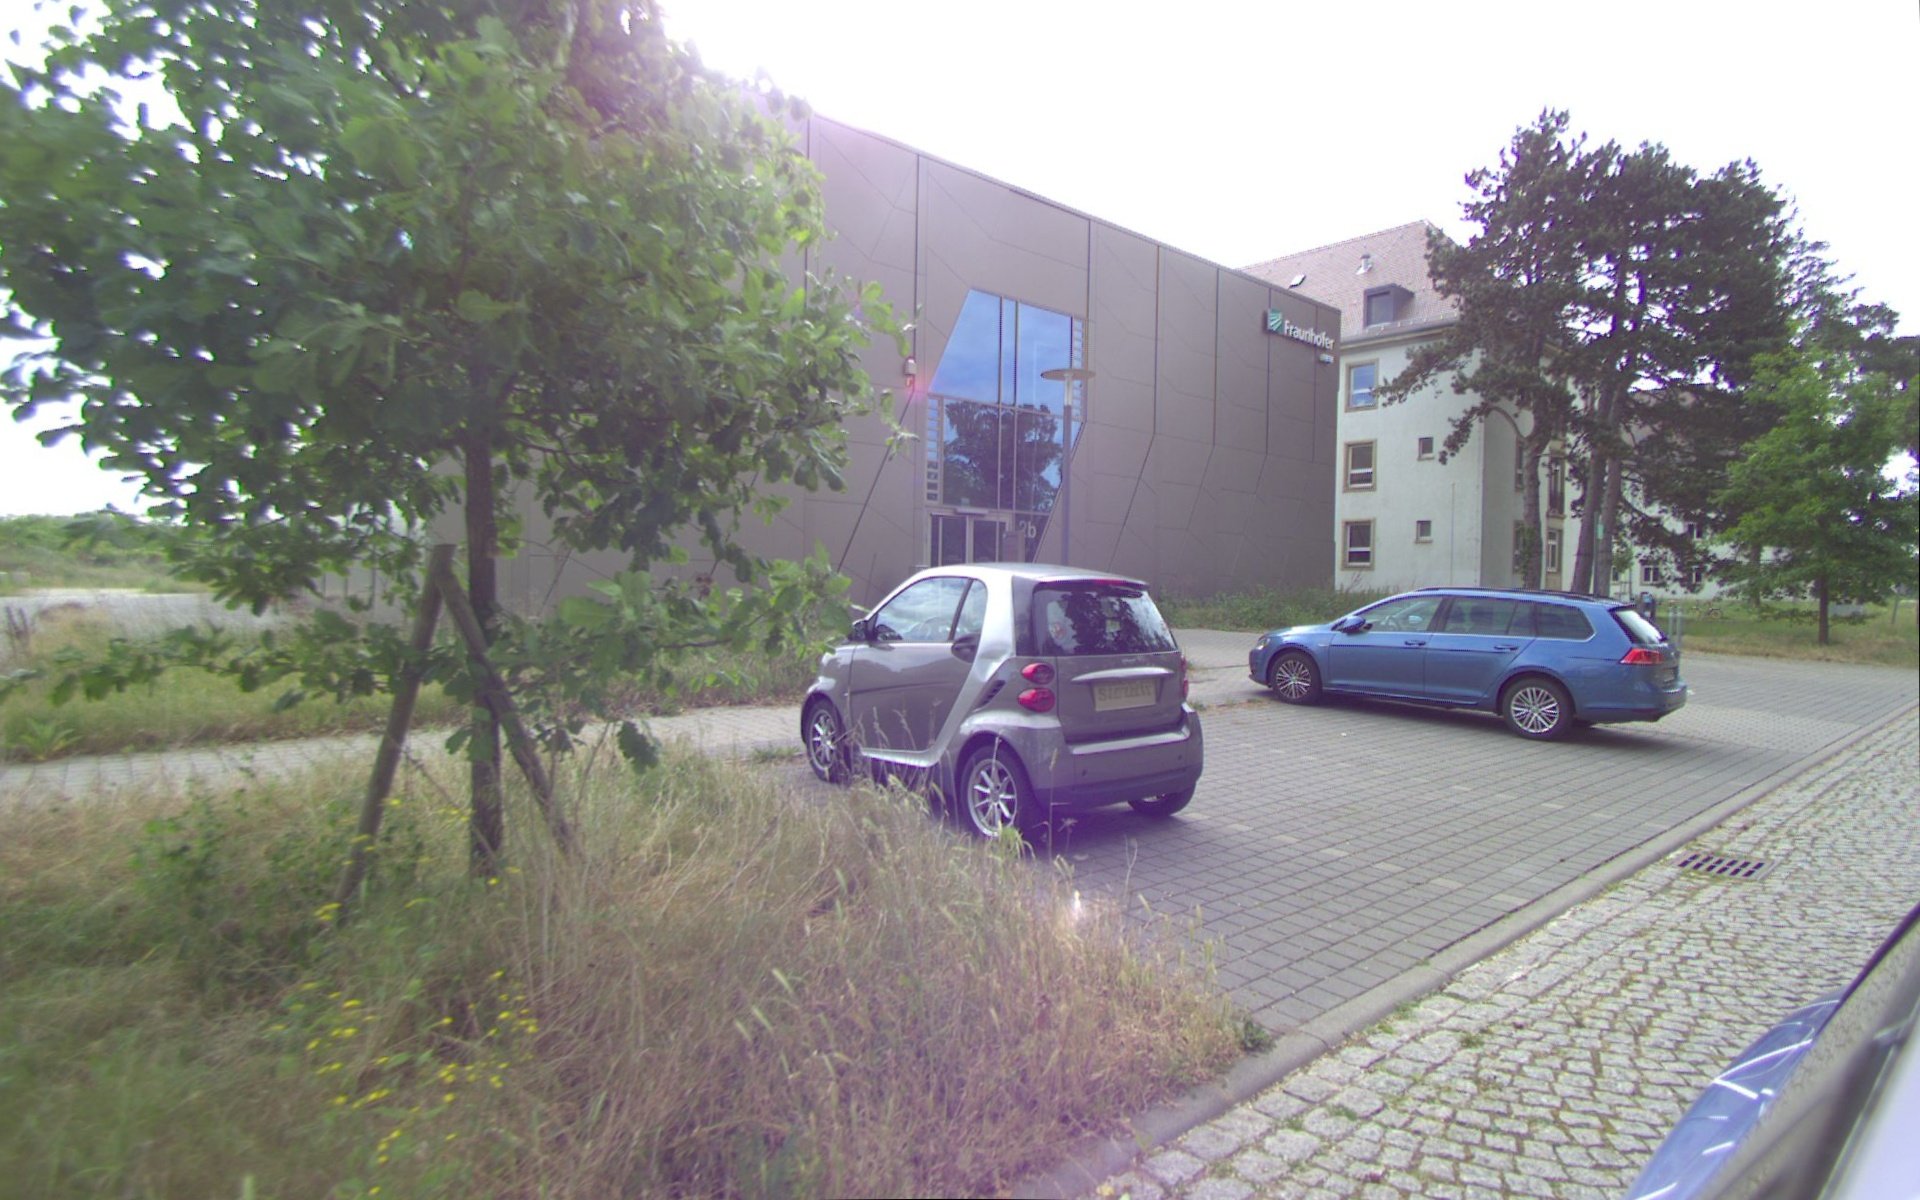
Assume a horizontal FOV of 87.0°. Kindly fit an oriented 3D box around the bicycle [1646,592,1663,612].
[{"bbox_3d":[41.300,0.111,60.158,1.628,1.142,0.476,0,1,-42],"label":"bicycle"}]

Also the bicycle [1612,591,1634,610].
[{"bbox_3d":[40.164,0.054,61.278,1.697,1.142,0.448,0,1,-33],"label":"bicycle"}]

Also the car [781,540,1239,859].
[{"bbox_3d":[0.198,0.453,6.757,1.623,1.575,2.718,0,4,-38],"label":"car"}]

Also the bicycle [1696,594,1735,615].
[{"bbox_3d":[42.314,0.242,56.696,0.604,1.099,1.653,0,1,-44],"label":"bicycle"}]

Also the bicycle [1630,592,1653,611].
[{"bbox_3d":[40.725,0.080,60.480,1.670,1.142,0.477,0,1,-33],"label":"bicycle"}]

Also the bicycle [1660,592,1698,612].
[{"bbox_3d":[41.111,0.108,57.897,0.603,1.099,1.655,0,1,-38],"label":"bicycle"}]

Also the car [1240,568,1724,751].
[{"bbox_3d":[5.663,0.490,11.473,1.800,1.493,4.497,0,3,-43],"label":"car"}]
